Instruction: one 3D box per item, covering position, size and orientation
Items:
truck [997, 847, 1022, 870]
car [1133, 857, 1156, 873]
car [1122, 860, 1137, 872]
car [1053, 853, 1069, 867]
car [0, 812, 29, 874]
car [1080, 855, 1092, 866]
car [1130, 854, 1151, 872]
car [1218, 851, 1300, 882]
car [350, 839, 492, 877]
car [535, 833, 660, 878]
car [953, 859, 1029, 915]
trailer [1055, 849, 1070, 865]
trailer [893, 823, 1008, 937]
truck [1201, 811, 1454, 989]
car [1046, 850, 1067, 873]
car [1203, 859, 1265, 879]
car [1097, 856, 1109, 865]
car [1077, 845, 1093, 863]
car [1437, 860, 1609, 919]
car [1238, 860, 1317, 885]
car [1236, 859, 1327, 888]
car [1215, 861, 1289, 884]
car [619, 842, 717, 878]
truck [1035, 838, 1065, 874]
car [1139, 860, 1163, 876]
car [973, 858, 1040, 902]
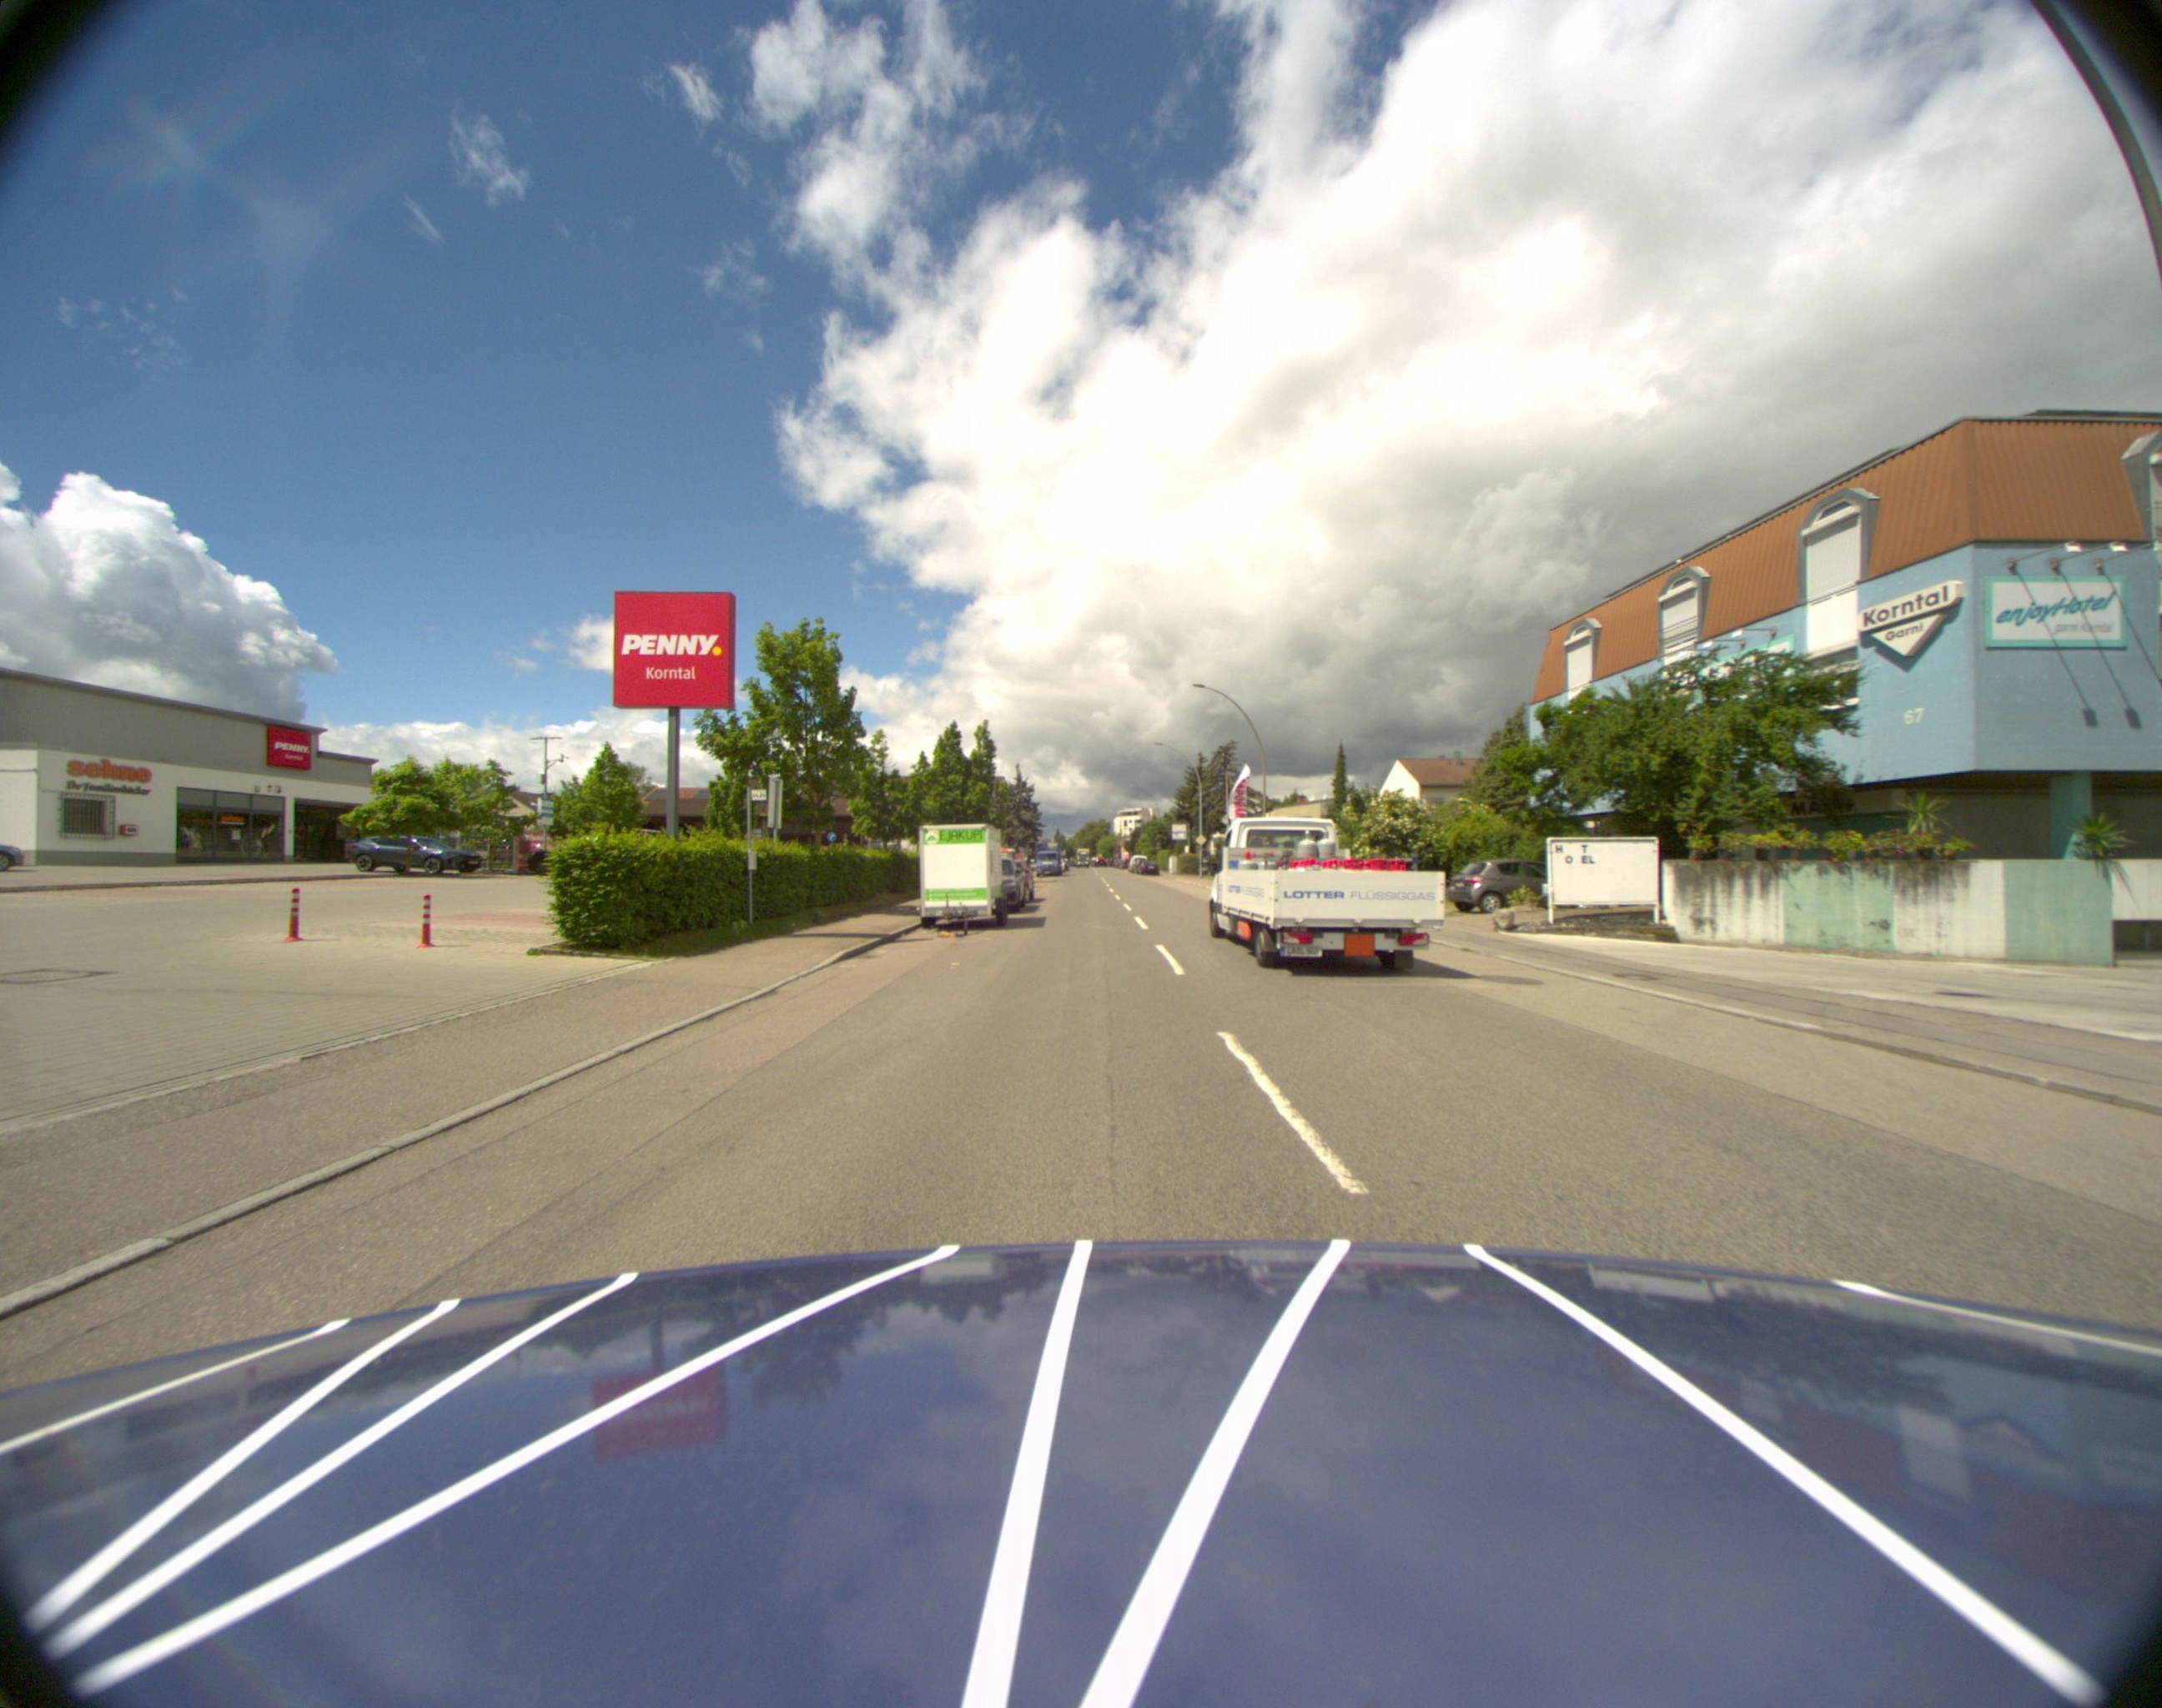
[{"bbox_3d":[-6.965,0.487,74.390,1.834,2.069,5.386,3,-2,0],"label":"truck"},{"bbox_3d":[6.326,1.111,75.879,1.748,1.463,4.644,3,-1,-1],"label":"car"},{"bbox_3d":[6.541,1.624,102.779,1.724,1.484,4.735,1,-1,-1],"label":"car"},{"bbox_3d":[-2.294,0.704,87.088,1.777,1.499,4.000,0,0,0],"label":"car"},{"bbox_3d":[-34.854,-0.311,22.212,1.996,1.892,4.308,-3,0,15],"label":"car"},{"bbox_3d":[0.867,1.051,125.909,1.891,1.708,3.999,1,0,-1],"label":"car"},{"bbox_3d":[6.320,0.984,81.077,1.748,1.827,4.355,3,0,-1],"label":"car"},{"bbox_3d":[11.273,0.789,48.253,4.664,1.960,2.115,0,0,-3],"label":"car"},{"bbox_3d":[-26.860,0.168,31.036,3.997,1.346,2.000,-3,0,-1],"label":"car"},{"bbox_3d":[-20.761,0.064,32.771,3.997,1.696,2.000,-3,0,-2],"label":"car"},{"bbox_3d":[-2.671,0.936,23.551,1.947,1.562,4.445,0,0,-2],"label":"car"},{"bbox_3d":[-2.386,0.408,98.678,1.777,2.132,4.114,0,0,0],"label":"trailer"},{"bbox_3d":[-2.831,0.528,17.448,1.946,2.281,4.445,0,0,-1],"label":"trailer"},{"bbox_3d":[3.552,0.586,12.609,2.324,2.165,6.450,1,0,2],"label":"truck"},{"bbox_3d":[-2.397,0.756,75.354,1.878,2.156,4.464,-2,0,1],"label":"car"},{"bbox_3d":[10.781,1.073,53.769,3.997,1.197,1.871,-3,0,-1],"label":"car"},{"bbox_3d":[4.001,1.219,137.363,1.999,1.606,4.411,1,0,0],"label":"car"},{"bbox_3d":[0.798,0.087,165.382,3.263,3.595,10.270,-1,-1,-1],"label":"car"},{"bbox_3d":[12.130,0.951,21.055,3.636,1.523,1.980,0,0,3],"label":"car"},{"bbox_3d":[11.011,1.021,42.685,3.996,1.347,1.872,0,0,3],"label":"car"},{"bbox_3d":[10.620,1.030,40.526,4.385,1.470,1.871,0,1,1],"label":"car"},{"bbox_3d":[10.158,1.094,45.455,3.997,1.307,1.871,0,1,-1],"label":"car"},{"bbox_3d":[-21.863,0.298,40.345,3.997,1.696,2.000,-3,0,-2],"label":"car"},{"bbox_3d":[-2.727,0.211,68.818,2.326,3.078,6.043,-2,0,1],"label":"truck"},{"bbox_3d":[6.471,1.289,70.594,1.635,1.296,4.116,3,-1,-2],"label":"car"},{"bbox_3d":[-2.748,0.926,29.054,1.946,1.562,4.446,0,0,2],"label":"car"}]
